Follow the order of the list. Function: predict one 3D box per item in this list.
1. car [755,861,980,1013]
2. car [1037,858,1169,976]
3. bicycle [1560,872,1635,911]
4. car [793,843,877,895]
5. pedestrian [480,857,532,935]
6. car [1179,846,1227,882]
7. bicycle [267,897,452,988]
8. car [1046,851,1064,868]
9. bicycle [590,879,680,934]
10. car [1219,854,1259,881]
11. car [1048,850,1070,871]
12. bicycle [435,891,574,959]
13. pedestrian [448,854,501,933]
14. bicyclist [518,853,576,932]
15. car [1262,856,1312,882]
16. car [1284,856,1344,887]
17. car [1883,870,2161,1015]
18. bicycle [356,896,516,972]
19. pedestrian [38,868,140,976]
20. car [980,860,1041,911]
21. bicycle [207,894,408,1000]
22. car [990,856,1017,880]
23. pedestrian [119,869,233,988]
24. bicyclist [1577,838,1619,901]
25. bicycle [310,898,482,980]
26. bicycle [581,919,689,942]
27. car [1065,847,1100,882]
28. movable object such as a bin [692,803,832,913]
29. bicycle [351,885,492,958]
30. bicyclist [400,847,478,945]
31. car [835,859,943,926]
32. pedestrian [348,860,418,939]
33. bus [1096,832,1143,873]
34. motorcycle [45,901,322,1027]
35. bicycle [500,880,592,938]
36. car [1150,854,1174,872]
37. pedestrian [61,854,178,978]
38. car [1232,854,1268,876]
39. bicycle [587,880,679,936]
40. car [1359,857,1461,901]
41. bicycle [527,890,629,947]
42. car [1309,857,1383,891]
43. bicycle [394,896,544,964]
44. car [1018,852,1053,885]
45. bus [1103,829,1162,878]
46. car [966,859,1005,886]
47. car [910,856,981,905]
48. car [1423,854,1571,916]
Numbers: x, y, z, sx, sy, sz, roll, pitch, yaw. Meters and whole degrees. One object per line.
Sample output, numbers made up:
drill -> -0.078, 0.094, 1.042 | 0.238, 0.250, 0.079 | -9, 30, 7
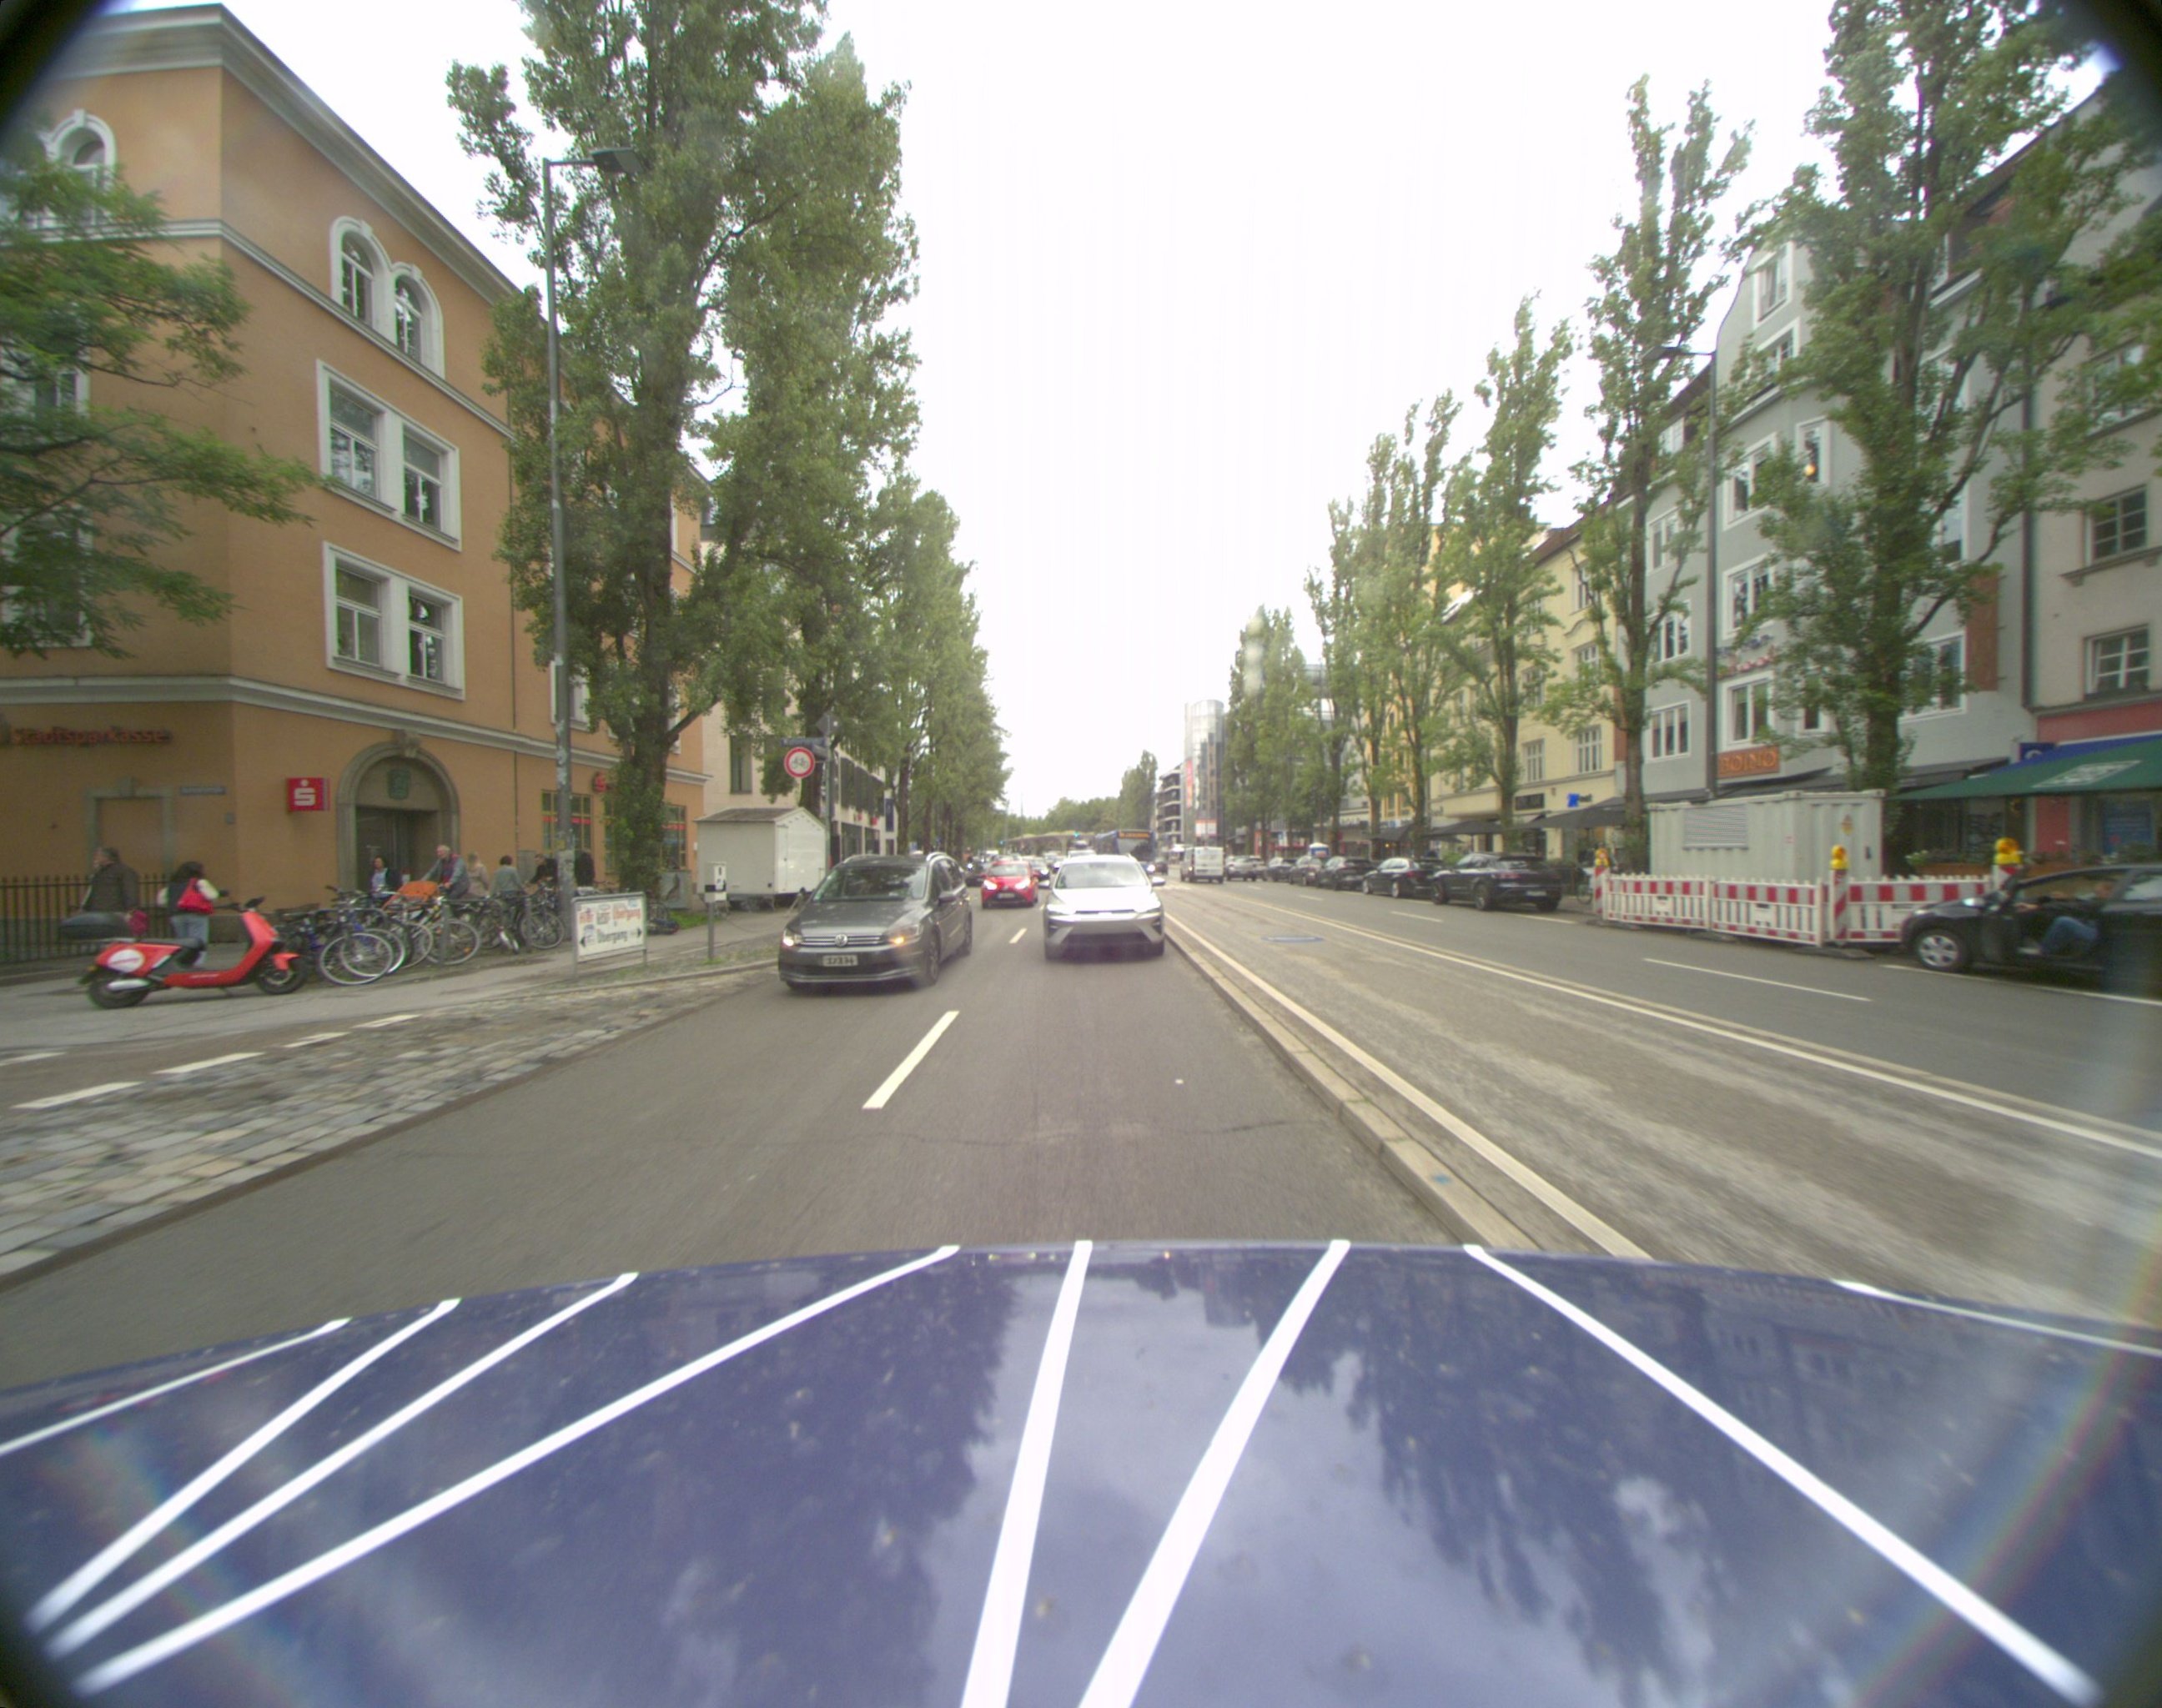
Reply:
car -> -2.645, 0.936, 10.515 | 1.882, 1.582, 4.192 | -2, 0, 0
car -> 0.296, 0.871, 12.407 | 1.742, 1.510, 4.033 | -3, 0, 0
bicycle -> 14.275, 1.003, 21.073 | 0.613, 0.963, 2.174 | -1, 0, 1
car -> -10.582, 0.603, 33.024 | 1.682, 2.110, 4.004 | -1, 0, 12
pedestrian -> -12.817, 0.922, 16.949 | 0.619, 1.684, 0.574 | -3, 1, -4
car -> 6.851, 0.542, 43.120 | 1.897, 1.921, 5.071 | 0, 0, 0
bicycle -> -9.664, 1.171, 10.210 | 1.945, 1.130, 0.561 | -1, 1, 1
car -> -2.816, 0.557, 81.001 | 1.707, 1.683, 4.001 | -2, 0, -5
bicycle -> -9.522, 1.110, 16.263 | 1.610, 1.078, 0.321 | -1, 1, -22
car -> 9.760, 0.797, 47.191 | 1.718, 1.532, 4.076 | 1, 0, 1
car -> -1.952, 0.561, 67.069 | 1.707, 1.683, 4.001 | -2, 0, -5
bicycle -> -9.806, 1.201, 12.956 | 1.945, 1.078, 0.561 | -1, 1, 1
pedestrian -> -13.500, 0.869, 16.925 | 0.634, 1.684, 0.574 | -3, 1, -2
bicyclist -> -11.712, 0.820, 16.686 | 0.741, 1.677, 0.748 | -1, 1, -7
car -> 12.188, 0.842, 45.285 | 1.802, 1.432, 4.574 | 0, 0, 1
car -> 12.085, 0.855, 39.682 | 1.802, 1.495, 4.574 | 0, 0, 1
car -> 11.875, 0.936, 8.473 | 1.760, 1.414, 3.784 | 0, 0, -3
bicycle -> -9.823, 1.213, 11.604 | 1.945, 1.069, 0.561 | -1, 1, 1
pedestrian -> -15.090, 1.022, 11.573 | 0.699, 1.562, 0.575 | -2, 1, 3
car -> -2.241, 0.967, 24.993 | 1.616, 1.425, 4.003 | -2, 0, 0
bicycle -> -9.701, 1.154, 9.566 | 1.945, 1.232, 0.561 | -1, 1, 1
car -> -5.345, 0.965, 52.895 | 1.701, 1.507, 3.998 | -3, 1, -5
pedestrian -> -12.631, 1.010, 10.635 | 0.747, 1.562, 0.613 | -3, 1, -19
bicyclist -> 14.267, 0.410, 20.978 | 0.606, 1.695, 0.816 | -1, 1, 1
bicycle -> -9.760, 1.199, 10.860 | 1.945, 1.082, 0.561 | -1, 1, 1
bicycle -> -8.878, 1.526, 15.190 | 1.677, 0.371, 0.830 | 0, 0, -7
car -> 0.072, 0.529, 44.035 | 1.839, 1.831, 5.129 | -2, 1, 0
movable object such as a bin -> -9.837, 0.106, 23.930 | 2.445, 3.119, 4.543 | 0, 0, 1
bicycle -> -11.809, 1.168, 13.723 | 0.887, 1.113, 2.100 | -1, 0, -8
bicyclist -> -11.860, 0.749, 14.054 | 0.831, 1.747, 0.667 | -1, 1, -8
car -> -5.106, 0.946, 20.849 | 1.789, 1.544, 4.498 | -2, 0, 0
pedestrian -> -14.473, 0.924, 15.770 | 0.745, 1.562, 0.663 | -2, 1, 2
bus -> 2.871, -0.107, 59.293 | 2.690, 2.932, 10.049 | -1, 0, -3
motorcycle -> -10.044, 1.188, 8.603 | 1.963, 1.214, 0.514 | -1, 1, -25
bicycle -> -11.711, 1.166, 16.734 | 0.737, 1.113, 2.100 | -1, 0, -8
car -> 6.709, 0.762, 63.101 | 1.616, 1.432, 3.596 | 0, 0, 0
pedestrian -> -14.266, 0.895, 11.294 | 0.699, 1.756, 0.732 | -2, 1, 3
car -> 12.351, 0.775, 55.801 | 1.802, 1.568, 4.104 | 0, 0, 1
bicycle -> -9.364, 1.116, 15.933 | 1.604, 1.078, 0.341 | -1, 1, -22
car -> 11.861, 0.857, 27.753 | 1.802, 1.432, 4.574 | 0, 0, 1
bicycle -> -9.469, 1.206, 14.324 | 1.602, 1.004, 0.342 | -1, 1, -7
car -> 11.847, 0.857, 34.335 | 1.802, 1.432, 4.574 | 0, 0, 1
bicycle -> -9.812, 1.213, 12.208 | 1.945, 1.004, 0.561 | -1, 1, 1
car -> -2.556, 0.744, 42.077 | 1.707, 1.683, 4.001 | -2, 0, -5
bus -> 3.266, -0.062, 51.063 | 2.697, 2.932, 10.049 | -1, 0, -3
car -> -5.408, 1.012, 43.338 | 1.700, 1.353, 4.003 | -2, 0, 0
car -> -4.902, 0.905, 28.143 | 1.789, 1.604, 4.498 | -2, 0, 0
car -> 11.738, 0.800, 21.837 | 1.802, 1.603, 4.574 | 0, 0, 1
